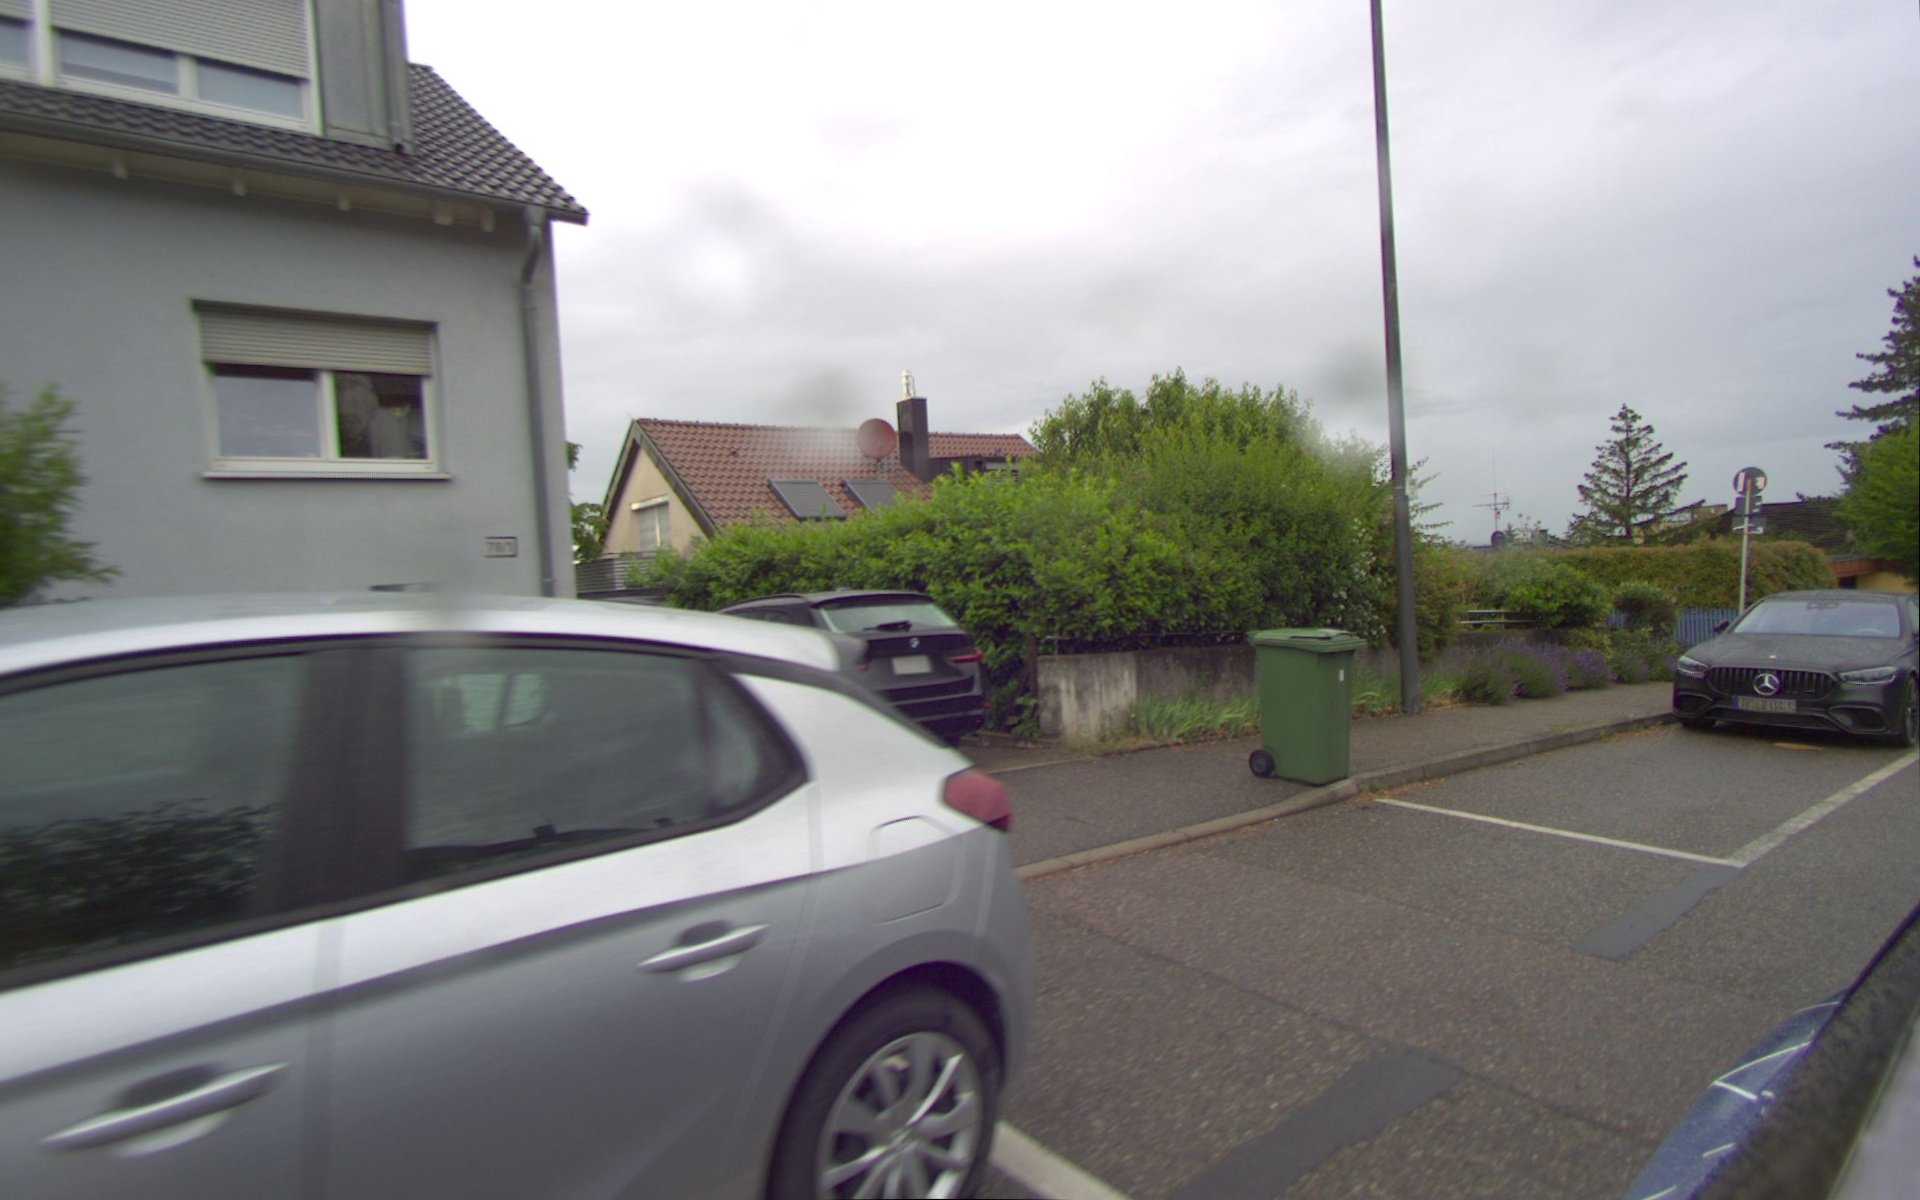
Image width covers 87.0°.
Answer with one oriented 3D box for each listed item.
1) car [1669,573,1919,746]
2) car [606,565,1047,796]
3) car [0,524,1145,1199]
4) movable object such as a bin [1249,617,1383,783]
[{"bbox_3d":[10.074,0.505,11.489,4.970,1.546,1.863,-1,2,-37],"label":"car"},{"bbox_3d":[-1.370,0.694,8.619,1.963,1.461,3.995,-1,-5,-37],"label":"car"},{"bbox_3d":[-1.683,0.622,1.839,4.161,1.485,1.772,-1,2,-41],"label":"car"},{"bbox_3d":[2.551,0.678,7.264,0.633,1.081,0.677,0,1,-38],"label":"movable object such as a bin"}]
